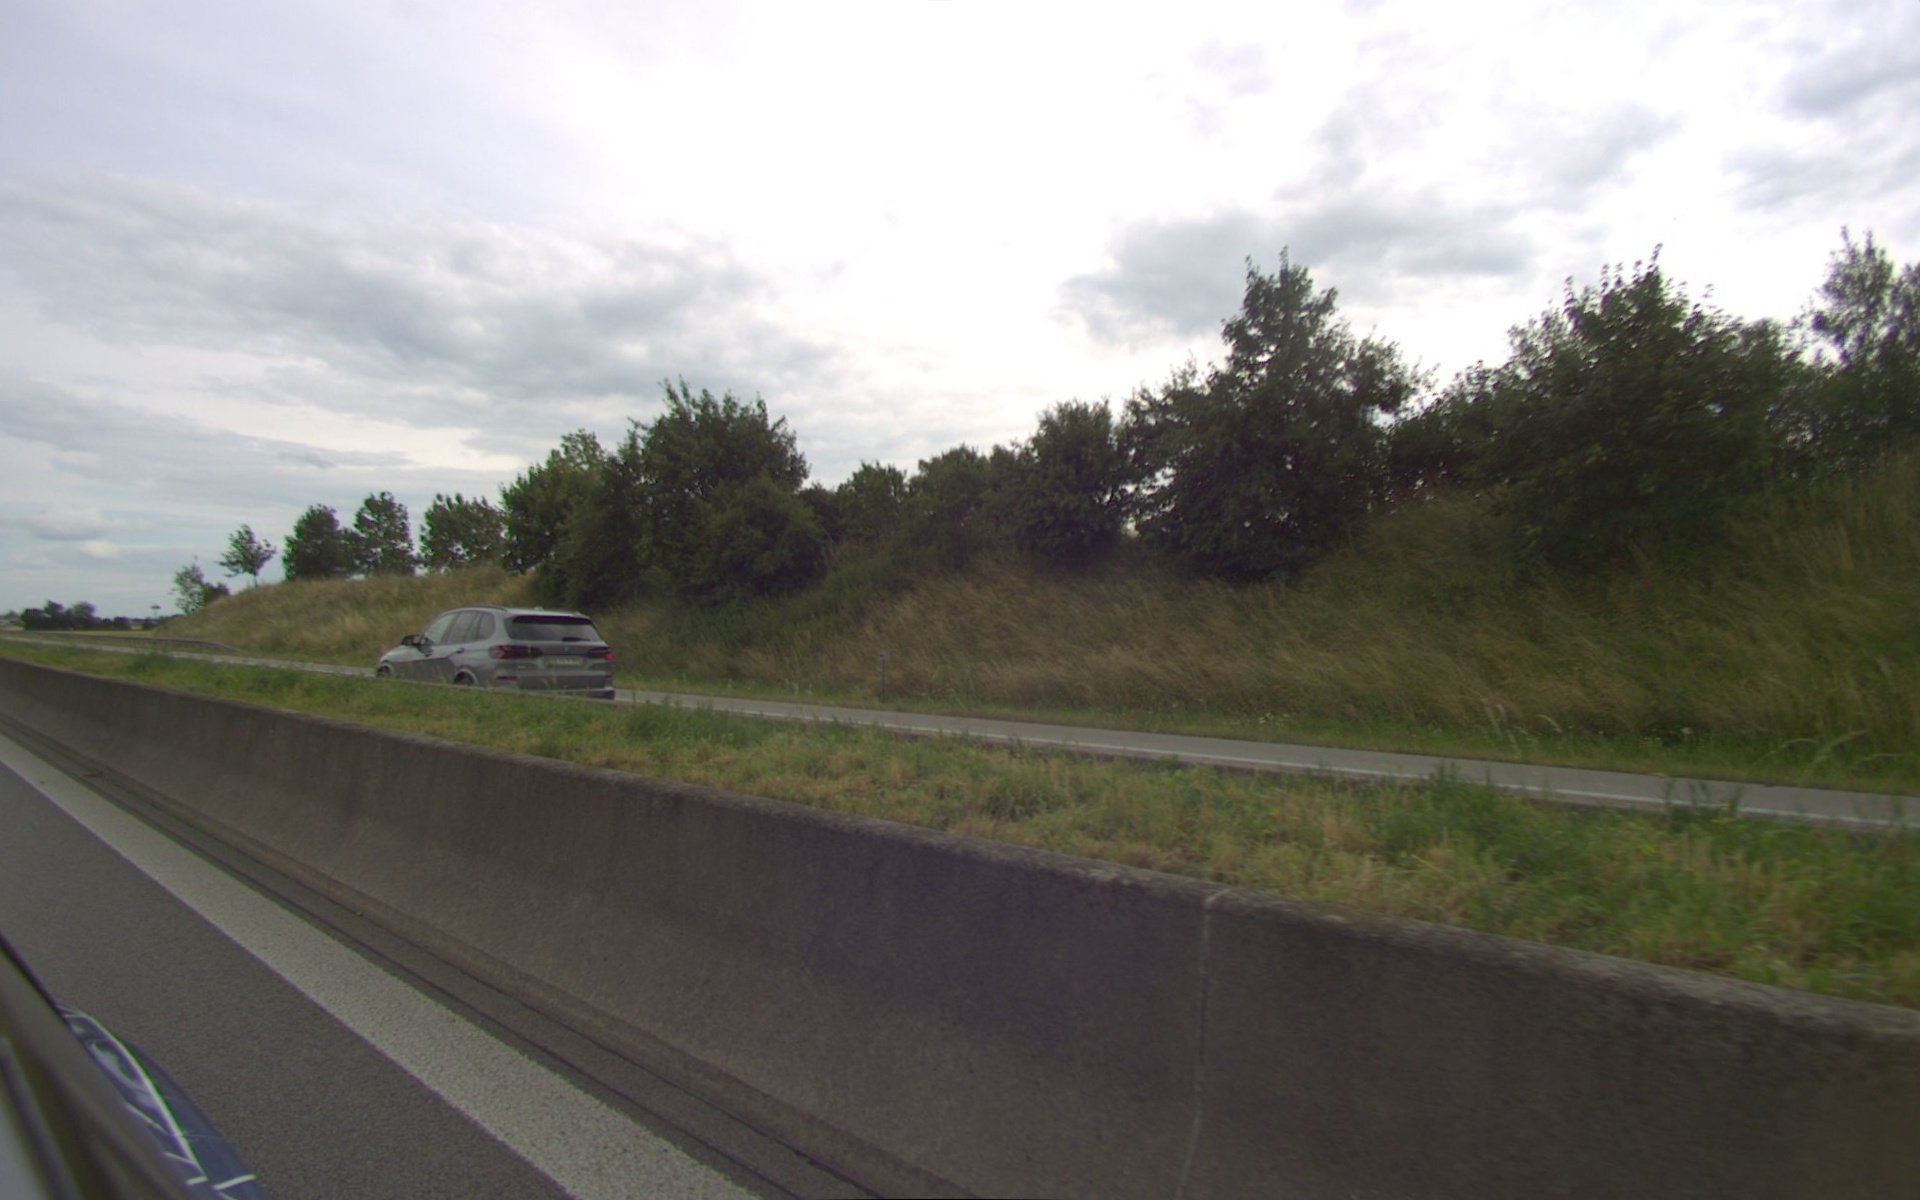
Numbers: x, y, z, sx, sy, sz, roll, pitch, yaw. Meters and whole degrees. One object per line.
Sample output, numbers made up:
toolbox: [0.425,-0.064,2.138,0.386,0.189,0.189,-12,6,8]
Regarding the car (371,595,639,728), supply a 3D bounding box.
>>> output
car: [-6.914,0.863,15.164,4.594,1.707,1.899,-1,-3,41]
